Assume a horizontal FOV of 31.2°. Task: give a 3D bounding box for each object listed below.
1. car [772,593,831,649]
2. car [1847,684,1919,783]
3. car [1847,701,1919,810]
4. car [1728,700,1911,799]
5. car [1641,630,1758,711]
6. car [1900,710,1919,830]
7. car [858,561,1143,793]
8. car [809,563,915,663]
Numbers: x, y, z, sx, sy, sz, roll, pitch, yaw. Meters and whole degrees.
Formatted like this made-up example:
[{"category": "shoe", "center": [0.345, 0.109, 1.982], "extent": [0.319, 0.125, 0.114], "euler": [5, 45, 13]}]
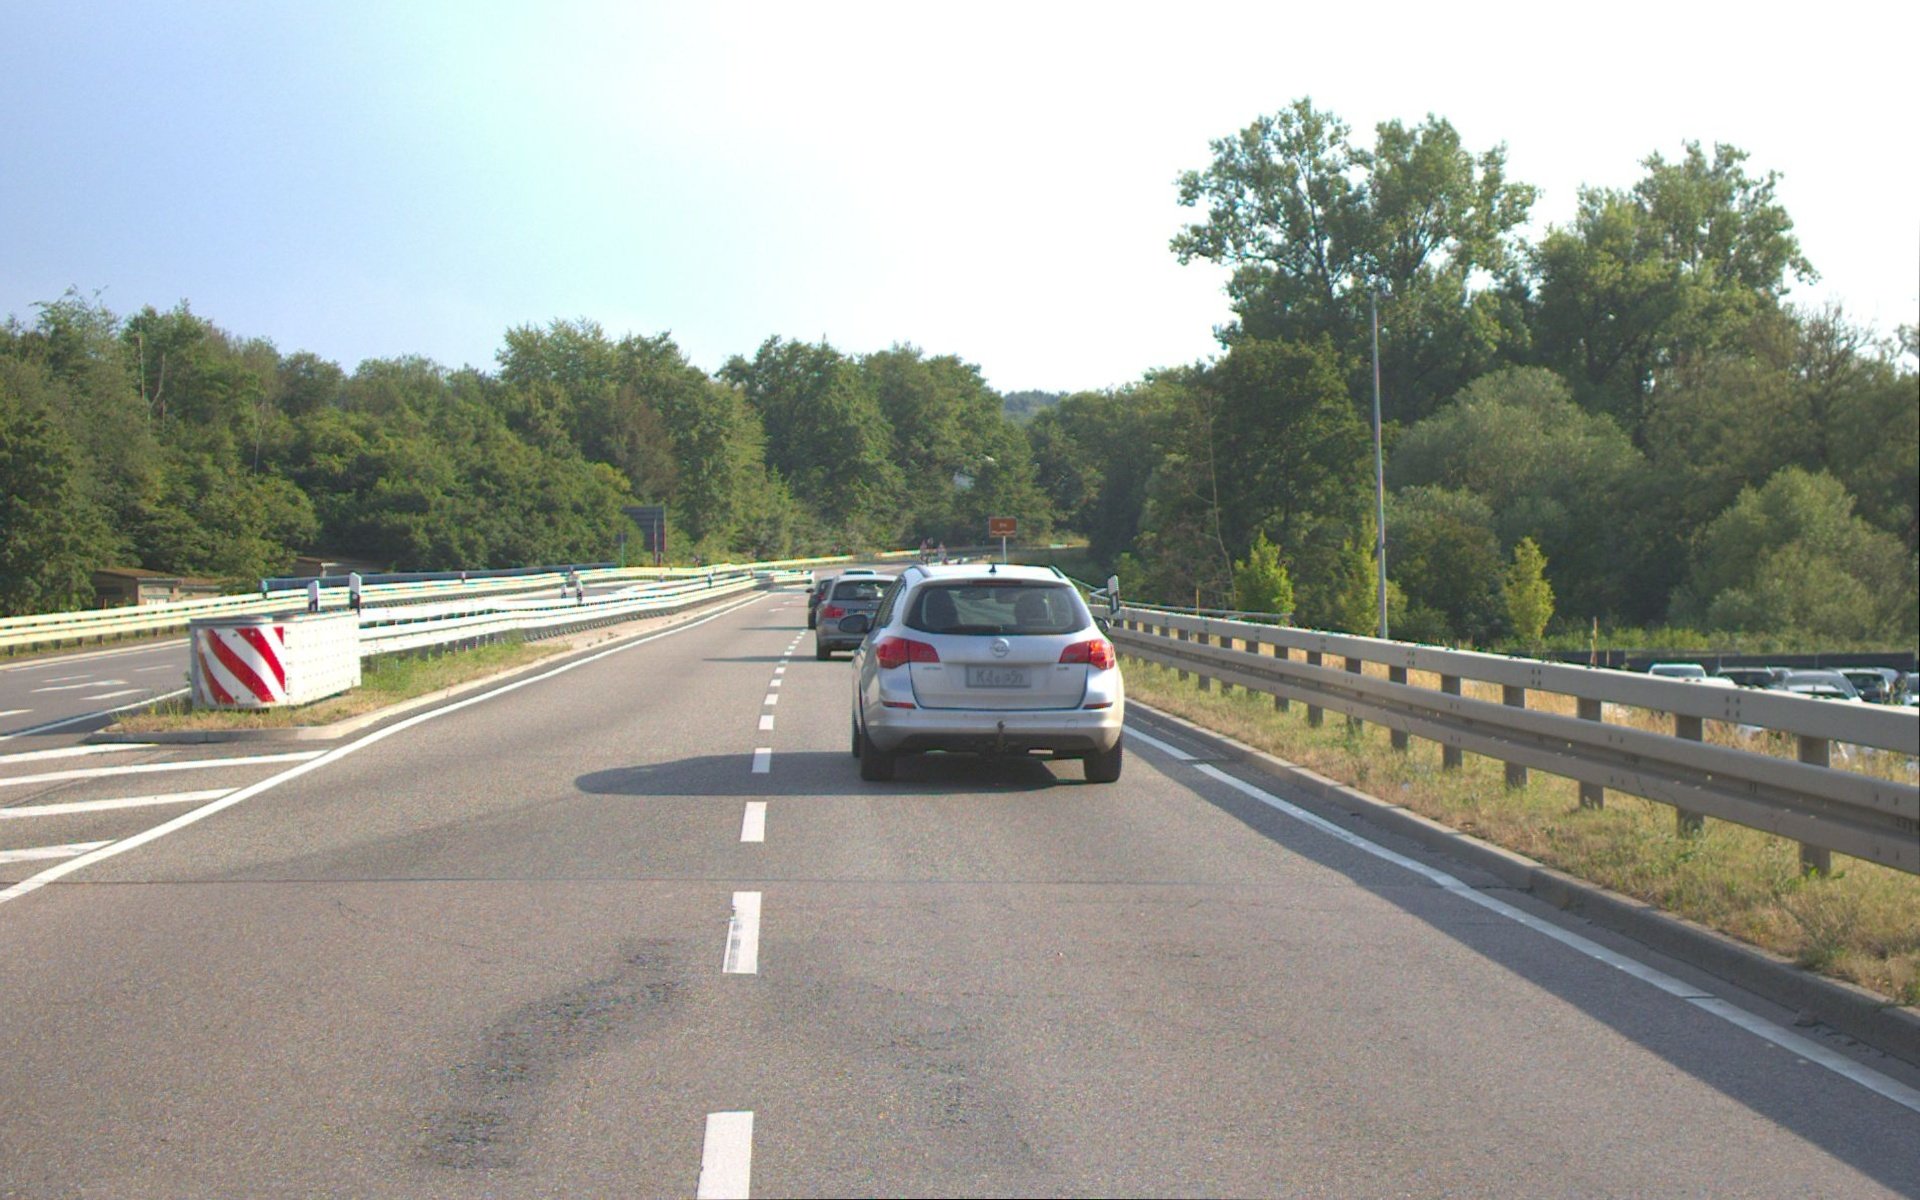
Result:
[{"category": "car", "center": [-4.279, 0.563, 93.331], "extent": [1.492, 1.471, 3.359], "euler": [1, 0, -1]}, {"category": "car", "center": [18.209, 2.490, 64.274], "extent": [1.835, 1.710, 4.667], "euler": [1, 0, -3]}, {"category": "car", "center": [16.204, 2.557, 56.758], "extent": [1.879, 1.630, 4.729], "euler": [1, 0, 0]}, {"category": "car", "center": [15.930, 2.744, 63.981], "extent": [1.999, 1.645, 4.730], "euler": [1, 0, -3]}, {"category": "car", "center": [16.050, 1.513, 74.765], "extent": [1.775, 1.678, 4.000], "euler": [1, 0, 2]}, {"category": "car", "center": [14.147, 2.369, 46.322], "extent": [1.880, 1.620, 4.729], "euler": [1, 0, 3]}, {"category": "car", "center": [0.204, 0.514, 24.346], "extent": [1.809, 1.481, 4.000], "euler": [1, 0, -2]}, {"category": "car", "center": [-1.632, 0.219, 57.591], "extent": [1.667, 1.569, 4.000], "euler": [1, 0, -1]}]
